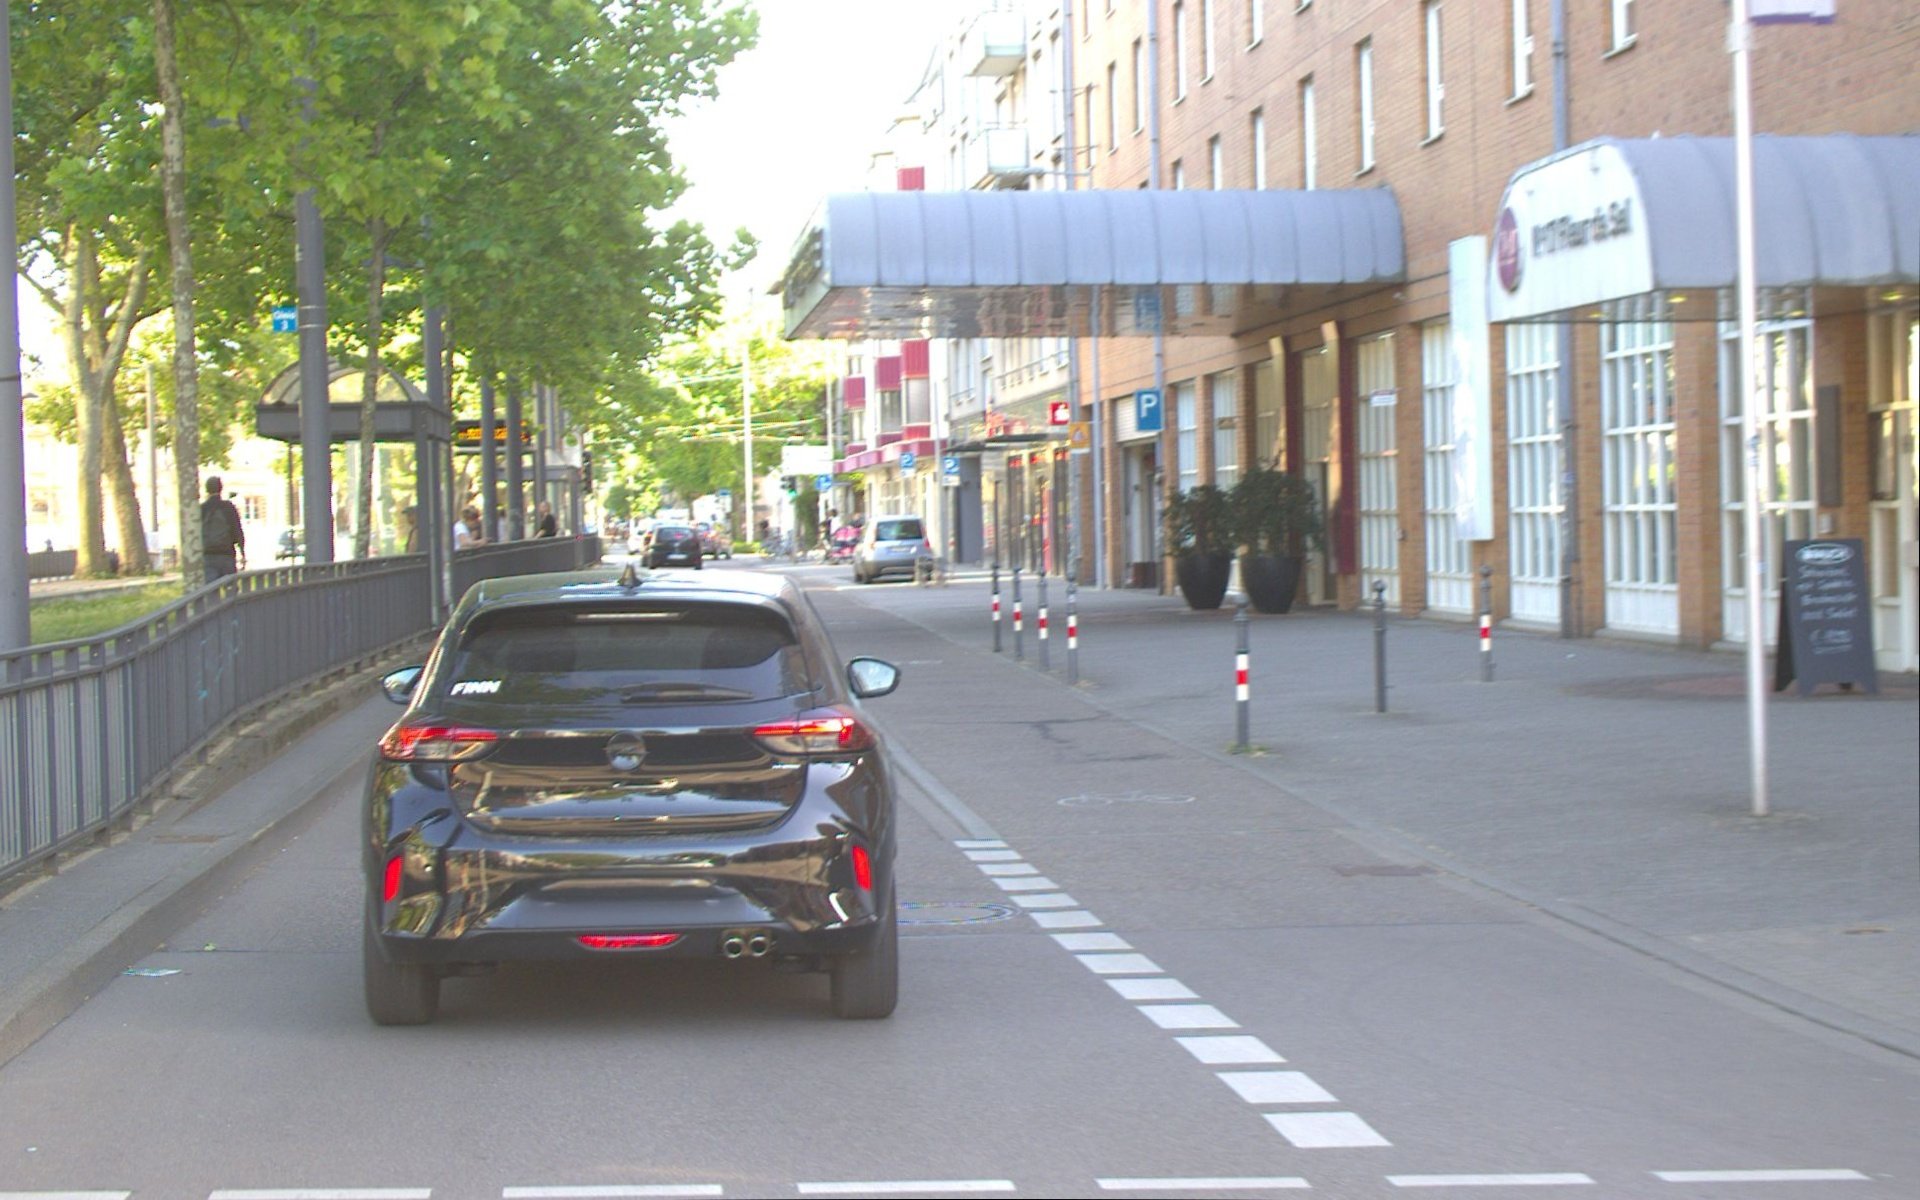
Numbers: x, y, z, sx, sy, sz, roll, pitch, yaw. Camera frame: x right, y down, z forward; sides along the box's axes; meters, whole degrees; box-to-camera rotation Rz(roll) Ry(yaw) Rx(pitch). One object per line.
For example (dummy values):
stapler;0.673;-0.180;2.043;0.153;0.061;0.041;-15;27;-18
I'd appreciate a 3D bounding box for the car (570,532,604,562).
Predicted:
car;-18.608;-2.648;171.617;1.613;1.496;3.691;0;1;-5

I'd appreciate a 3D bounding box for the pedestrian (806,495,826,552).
pedestrian;-7.293;-3.882;174.054;0.916;2.862;1.151;0;1;-5

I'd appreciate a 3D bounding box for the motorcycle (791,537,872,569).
motorcycle;-4.364;-1.587;116.354;1.305;1.055;3.097;-1;1;-34

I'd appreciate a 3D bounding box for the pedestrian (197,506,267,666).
pedestrian;-7.765;-0.155;36.677;0.604;1.674;0.486;-2;1;-4

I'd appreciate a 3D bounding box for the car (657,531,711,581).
car;-8.443;-1.358;105.000;1.613;1.496;3.691;0;1;-5

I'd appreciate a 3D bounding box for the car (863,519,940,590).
car;-1.428;-1.109;82.598;1.671;1.646;3.691;0;1;-4

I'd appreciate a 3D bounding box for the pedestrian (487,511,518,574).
pedestrian;-10.014;-1.257;75.261;0.604;1.360;0.486;-2;1;-4

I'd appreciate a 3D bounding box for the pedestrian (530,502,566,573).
pedestrian;-8.460;-1.285;70.555;0.722;1.440;0.627;0;1;-8

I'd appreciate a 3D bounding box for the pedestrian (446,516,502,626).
pedestrian;-6.405;-0.388;45.307;0.722;1.440;0.627;0;1;-8

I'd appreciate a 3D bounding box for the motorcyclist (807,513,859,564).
motorcyclist;-4.303;-2.075;116.247;1.305;1.692;1.237;-1;1;-34

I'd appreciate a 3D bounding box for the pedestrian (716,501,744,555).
pedestrian;-12.153;-3.799;181.516;1.147;2.862;0.919;-1;1;-37

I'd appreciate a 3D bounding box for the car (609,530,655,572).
car;-11.840;-1.778;124.084;1.613;1.496;3.691;0;1;-5

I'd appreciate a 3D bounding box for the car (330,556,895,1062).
car;-1.155;0.595;12.061;1.671;1.496;3.691;0;1;-4

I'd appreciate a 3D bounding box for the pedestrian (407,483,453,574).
pedestrian;-8.039;-1.082;52.155;0.604;1.360;0.486;-2;1;-4

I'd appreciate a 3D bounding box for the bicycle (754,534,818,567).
bicycle;-6.465;-1.848;127.942;2.355;1.229;0.684;0;1;-2

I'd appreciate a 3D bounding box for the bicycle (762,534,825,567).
bicycle;-6.289;-1.885;129.584;2.355;1.229;0.684;0;1;-2
